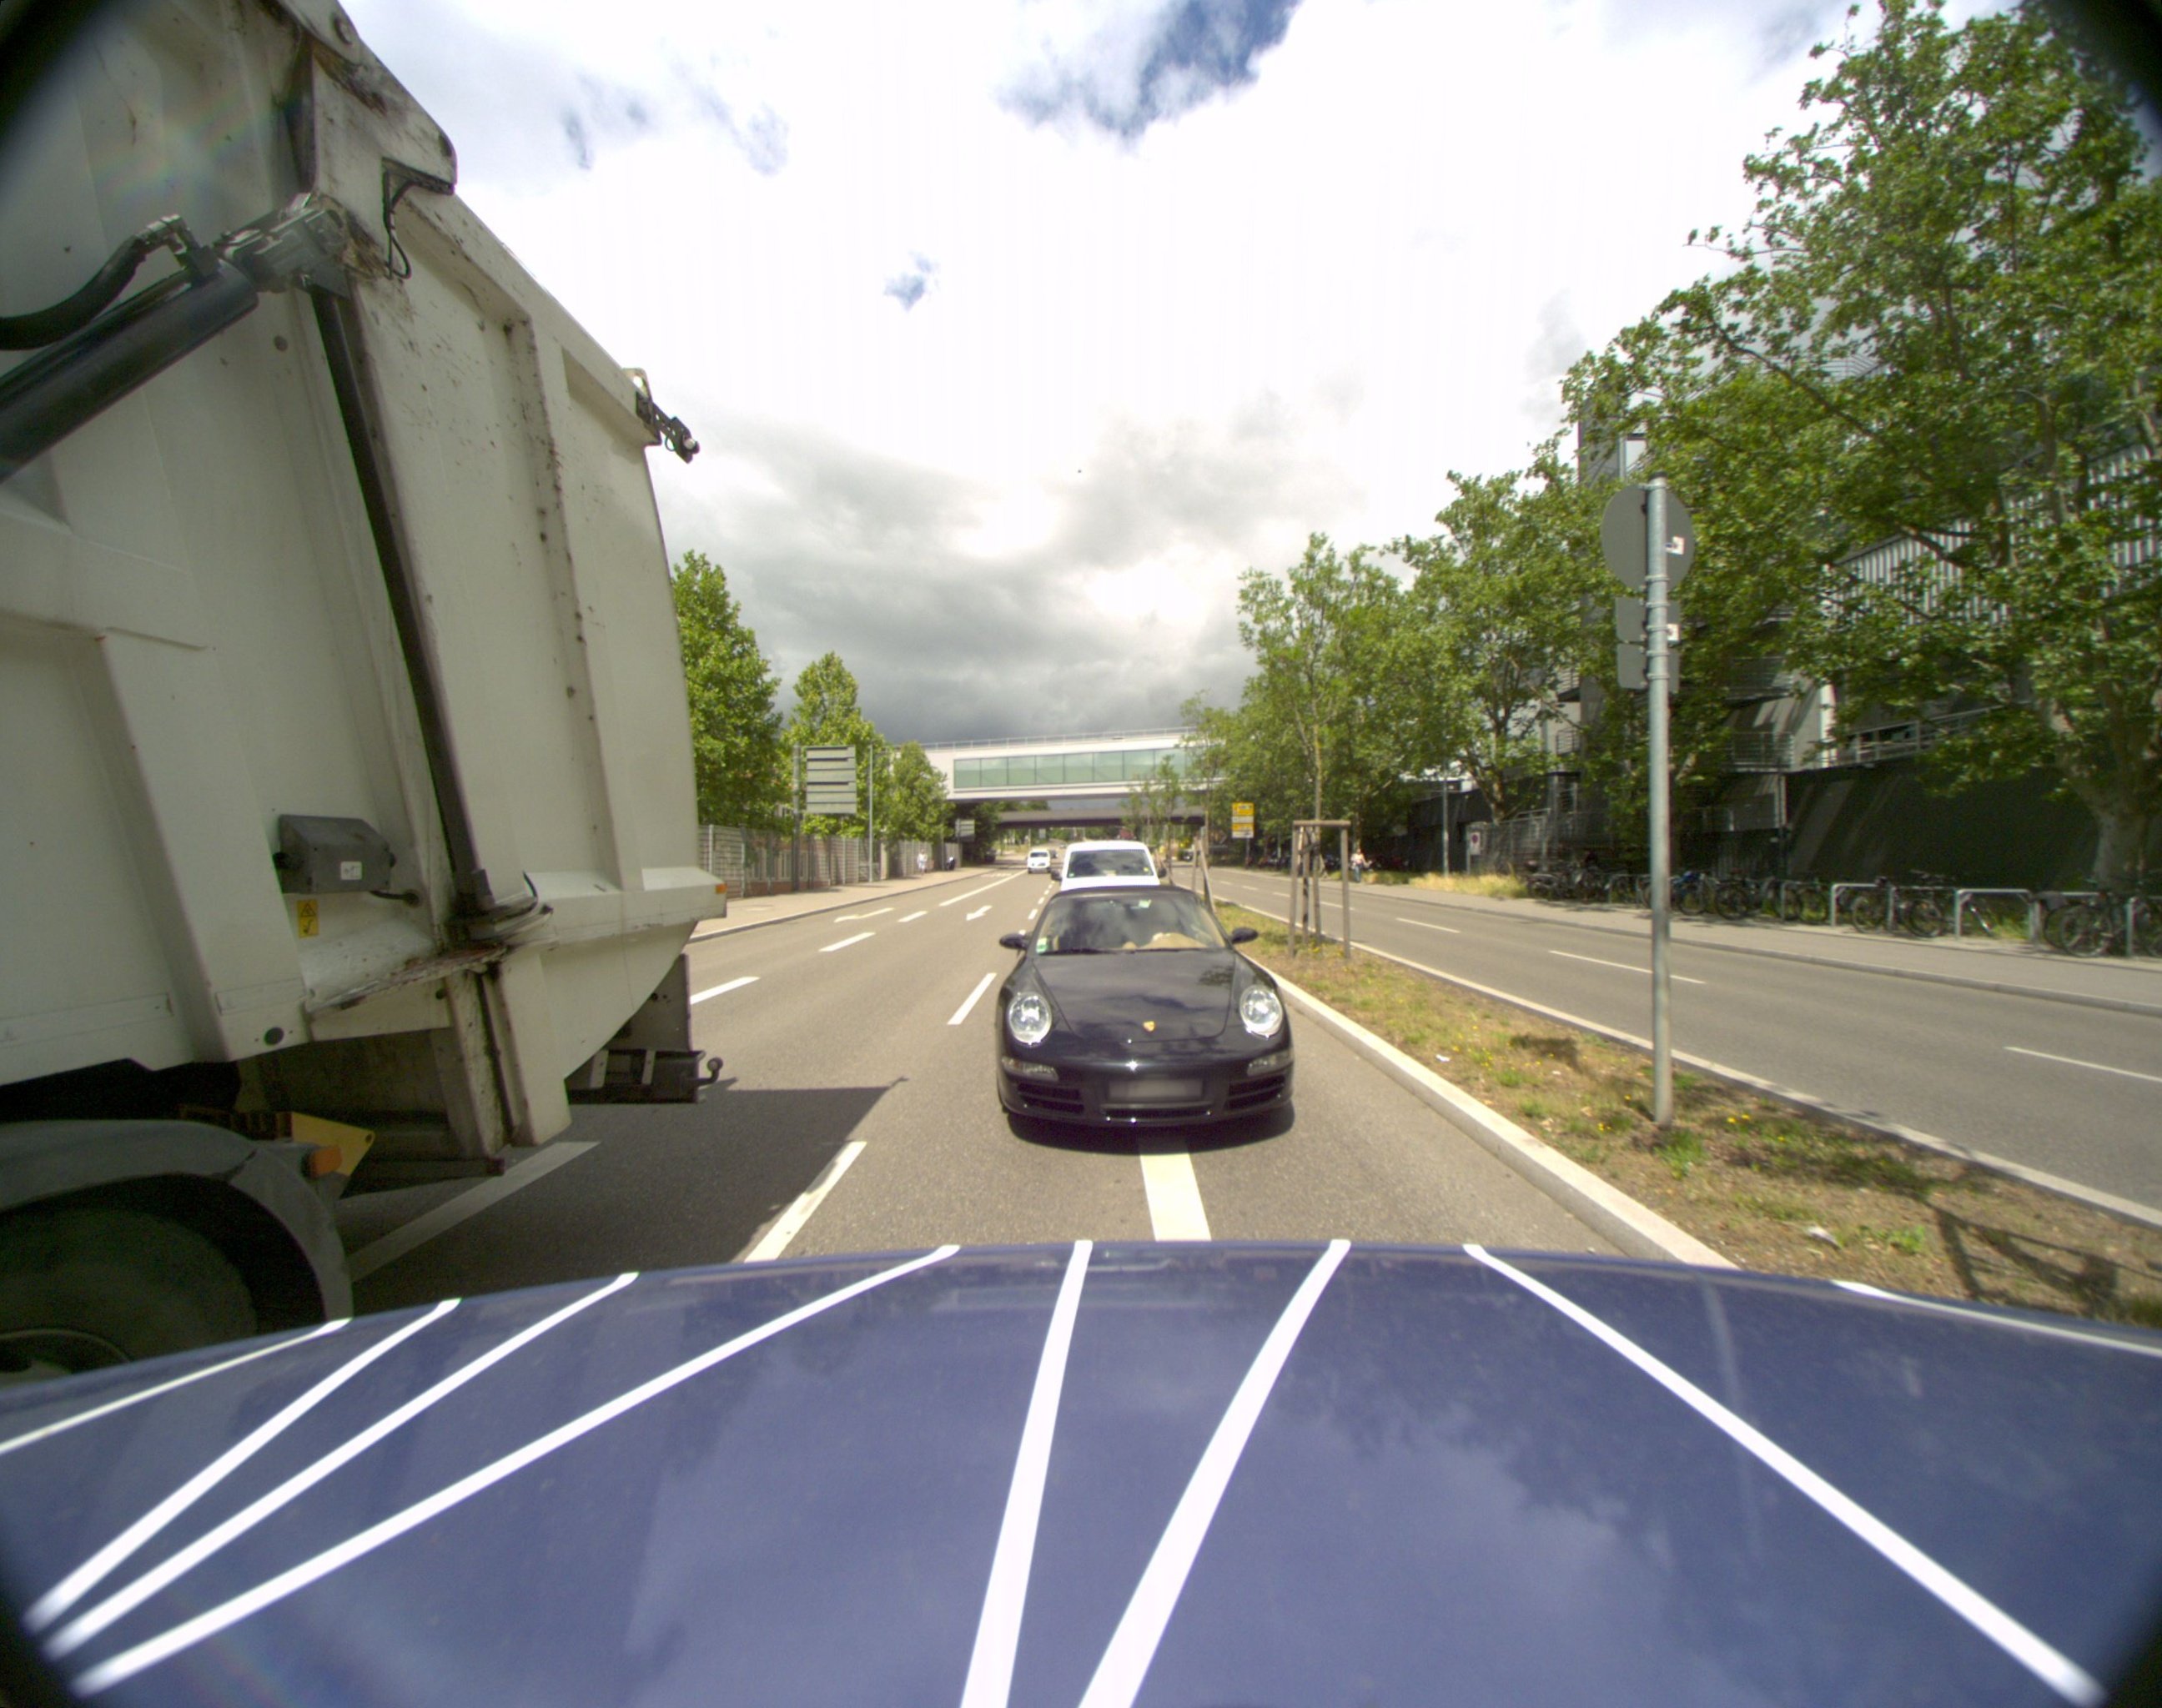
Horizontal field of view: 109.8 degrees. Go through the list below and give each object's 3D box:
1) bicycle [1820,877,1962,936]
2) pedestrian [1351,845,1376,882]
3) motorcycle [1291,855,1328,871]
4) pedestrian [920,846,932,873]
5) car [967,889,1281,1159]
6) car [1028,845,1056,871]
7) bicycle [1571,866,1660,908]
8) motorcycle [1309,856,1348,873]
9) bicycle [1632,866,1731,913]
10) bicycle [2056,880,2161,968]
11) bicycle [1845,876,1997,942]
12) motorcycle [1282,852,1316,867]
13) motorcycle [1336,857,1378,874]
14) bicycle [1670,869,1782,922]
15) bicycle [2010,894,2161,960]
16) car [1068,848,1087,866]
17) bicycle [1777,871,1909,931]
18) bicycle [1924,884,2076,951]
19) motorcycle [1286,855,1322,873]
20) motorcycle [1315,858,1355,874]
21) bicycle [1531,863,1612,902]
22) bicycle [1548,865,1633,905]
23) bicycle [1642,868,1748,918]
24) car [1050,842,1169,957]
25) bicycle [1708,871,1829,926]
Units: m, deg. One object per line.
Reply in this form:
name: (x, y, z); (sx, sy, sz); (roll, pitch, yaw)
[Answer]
bicycle: (15.011, 0.964, 14.105); (2.129, 1.025, 0.382); (-1, 1, 3)
pedestrian: (13.347, 0.456, 35.925); (0.900, 1.710, 0.672); (-1, 1, 1)
motorcycle: (14.343, 0.548, 47.633); (2.133, 0.963, 0.534); (-1, 0, 1)
pedestrian: (-11.459, 0.407, 56.140); (0.739, 1.901, 0.658); (-2, 1, -3)
car: (0.265, 1.032, 6.113); (1.710, 1.280, 3.806); (-1, 0, 1)
car: (-3.273, 0.303, 64.561); (1.925, 2.082, 4.657); (-1, 0, 2)
bicycle: (14.822, 0.909, 21.088); (2.129, 1.104, 0.382); (-1, 1, 3)
motorcycle: (14.863, 0.610, 45.620); (2.133, 0.963, 0.534); (-1, 0, 1)
bicycle: (15.065, 0.890, 19.076); (2.129, 1.104, 0.382); (-1, 1, 3)
bicycle: (14.354, 0.923, 10.228); (1.993, 1.121, 0.382); (-1, 1, -1)
bicycle: (14.578, 0.952, 13.211); (2.129, 1.089, 0.382); (-1, 1, 3)
motorcycle: (14.714, 0.370, 51.219); (2.133, 0.963, 0.534); (-1, 0, 1)
motorcycle: (15.419, 0.656, 42.426); (2.133, 0.893, 0.534); (-1, 0, 1)
bicycle: (14.479, 0.927, 17.074); (2.129, 1.104, 0.382); (-1, 1, 3)
bicycle: (14.957, 1.067, 11.231); (1.993, 0.885, 0.382); (-1, 1, -1)
car: (-0.388, 0.319, 82.389); (1.862, 1.800, 4.357); (-3, 0, 1)
bicycle: (15.042, 0.921, 15.011); (2.129, 1.104, 0.382); (-1, 1, 3)
bicycle: (14.753, 1.009, 12.210); (1.993, 0.992, 0.382); (-1, 1, -1)
motorcycle: (14.425, 0.631, 49.088); (2.133, 1.131, 0.534); (-1, 0, 1)
motorcycle: (14.892, 0.705, 44.617); (2.133, 0.880, 0.534); (-1, 0, 1)
bicycle: (14.748, 0.860, 22.853); (2.129, 1.104, 0.382); (-1, 1, 3)
bicycle: (14.753, 0.896, 22.011); (2.129, 1.104, 0.382); (-1, 1, 3)
bicycle: (14.505, 0.919, 17.961); (2.129, 1.104, 0.382); (-1, 1, 3)
car: (0.487, 0.729, 14.643); (1.862, 1.800, 4.906); (-1, 0, 1)
bicycle: (14.501, 0.939, 16.050); (2.129, 1.104, 0.382); (-1, 1, 3)
